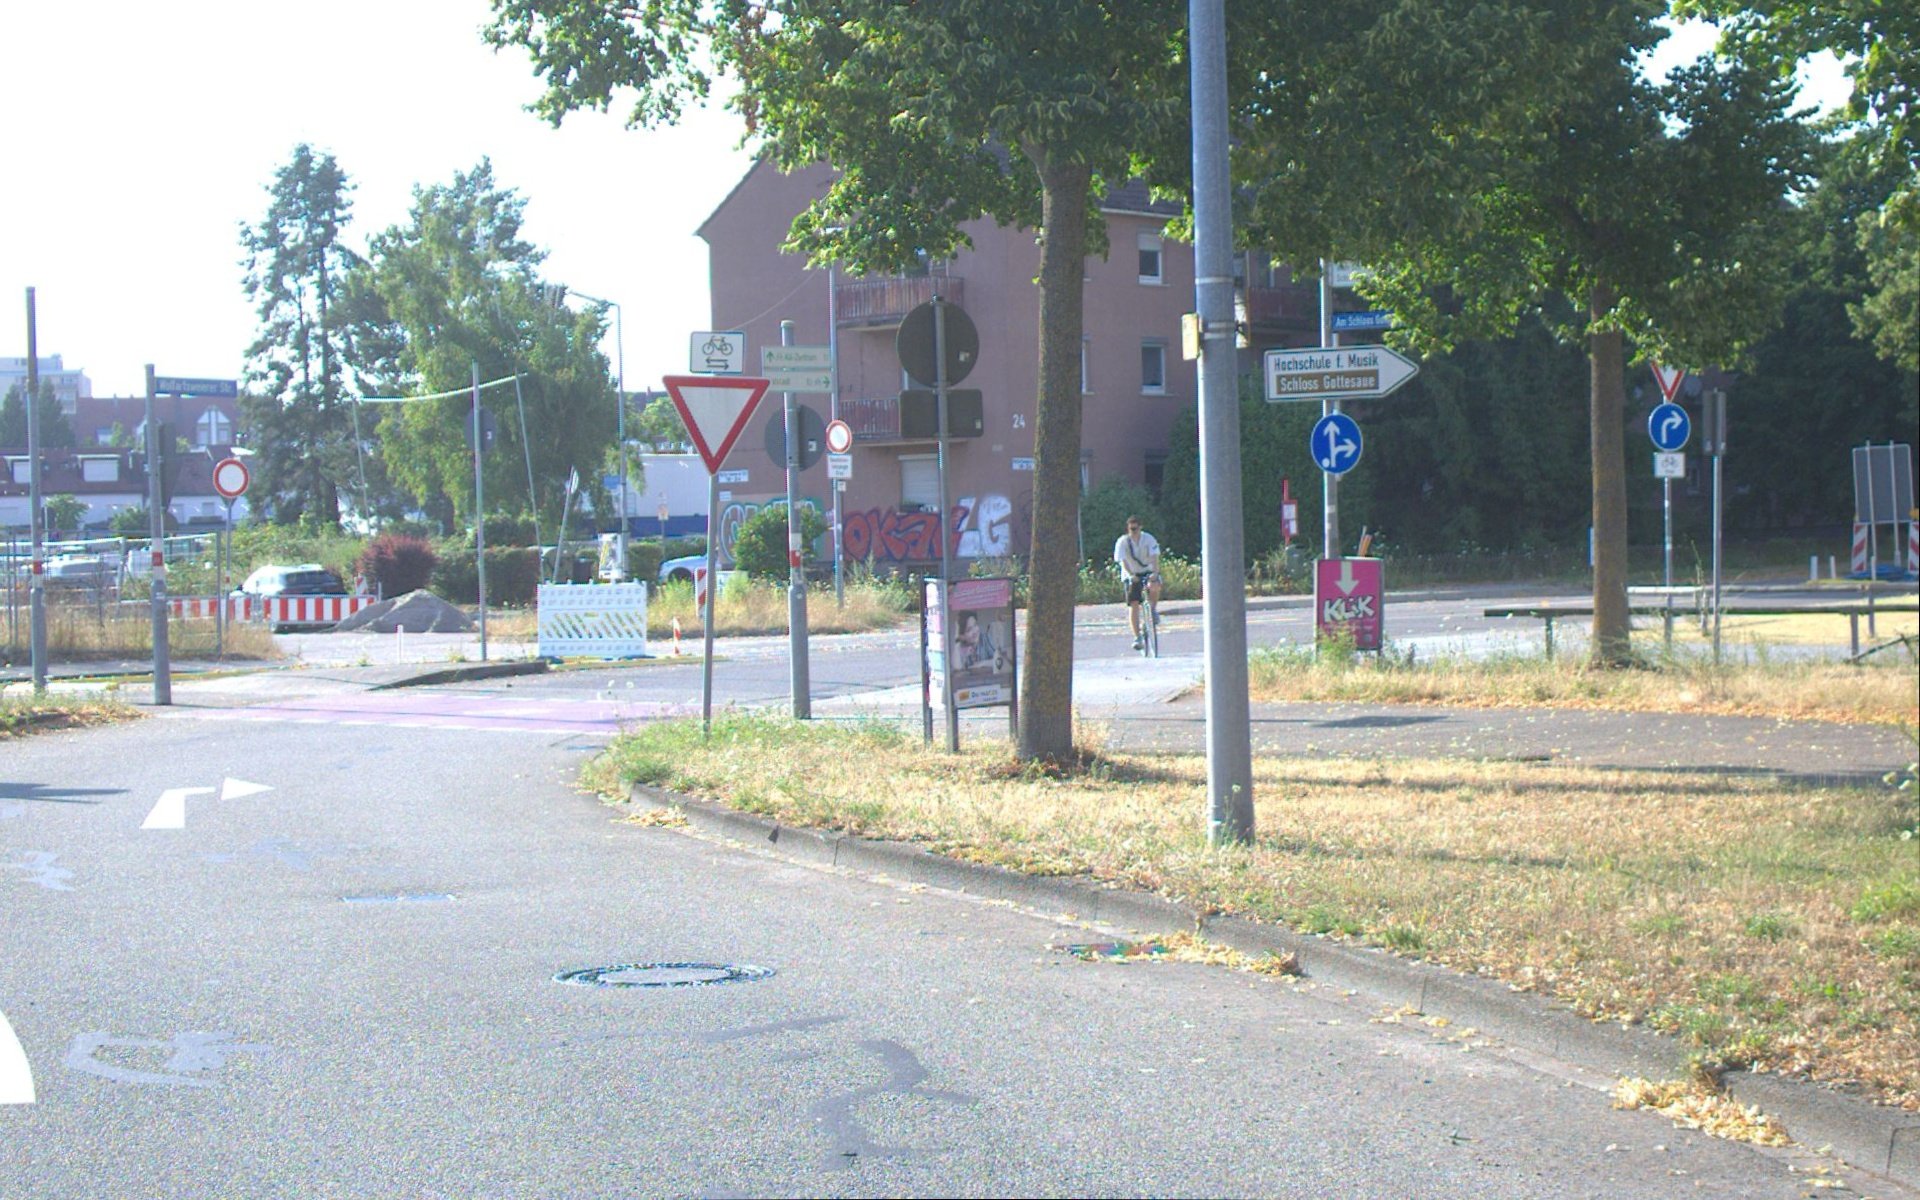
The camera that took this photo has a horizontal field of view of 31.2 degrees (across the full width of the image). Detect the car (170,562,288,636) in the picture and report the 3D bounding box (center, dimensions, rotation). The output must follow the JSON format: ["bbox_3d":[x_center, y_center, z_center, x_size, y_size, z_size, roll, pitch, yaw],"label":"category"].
[{"bbox_3d":[-20.741,-0.028,97.496,1.667,2.007,3.820,-2,1,-39],"label":"car"}]

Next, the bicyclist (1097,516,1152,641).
[{"bbox_3d":[2.084,-0.282,43.628,0.658,1.557,0.894,-1,1,2],"label":"bicyclist"}]

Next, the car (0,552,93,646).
[{"bbox_3d":[-21.395,-0.016,76.895,3.815,2.007,1.669,-1,1,33],"label":"car"}]

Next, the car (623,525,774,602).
[{"bbox_3d":[-7.113,-0.978,93.485,3.815,2.007,1.669,-1,1,33],"label":"car"}]

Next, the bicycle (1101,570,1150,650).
[{"bbox_3d":[2.103,0.115,43.837,0.597,0.960,2.106,-1,1,2],"label":"bicycle"}]
